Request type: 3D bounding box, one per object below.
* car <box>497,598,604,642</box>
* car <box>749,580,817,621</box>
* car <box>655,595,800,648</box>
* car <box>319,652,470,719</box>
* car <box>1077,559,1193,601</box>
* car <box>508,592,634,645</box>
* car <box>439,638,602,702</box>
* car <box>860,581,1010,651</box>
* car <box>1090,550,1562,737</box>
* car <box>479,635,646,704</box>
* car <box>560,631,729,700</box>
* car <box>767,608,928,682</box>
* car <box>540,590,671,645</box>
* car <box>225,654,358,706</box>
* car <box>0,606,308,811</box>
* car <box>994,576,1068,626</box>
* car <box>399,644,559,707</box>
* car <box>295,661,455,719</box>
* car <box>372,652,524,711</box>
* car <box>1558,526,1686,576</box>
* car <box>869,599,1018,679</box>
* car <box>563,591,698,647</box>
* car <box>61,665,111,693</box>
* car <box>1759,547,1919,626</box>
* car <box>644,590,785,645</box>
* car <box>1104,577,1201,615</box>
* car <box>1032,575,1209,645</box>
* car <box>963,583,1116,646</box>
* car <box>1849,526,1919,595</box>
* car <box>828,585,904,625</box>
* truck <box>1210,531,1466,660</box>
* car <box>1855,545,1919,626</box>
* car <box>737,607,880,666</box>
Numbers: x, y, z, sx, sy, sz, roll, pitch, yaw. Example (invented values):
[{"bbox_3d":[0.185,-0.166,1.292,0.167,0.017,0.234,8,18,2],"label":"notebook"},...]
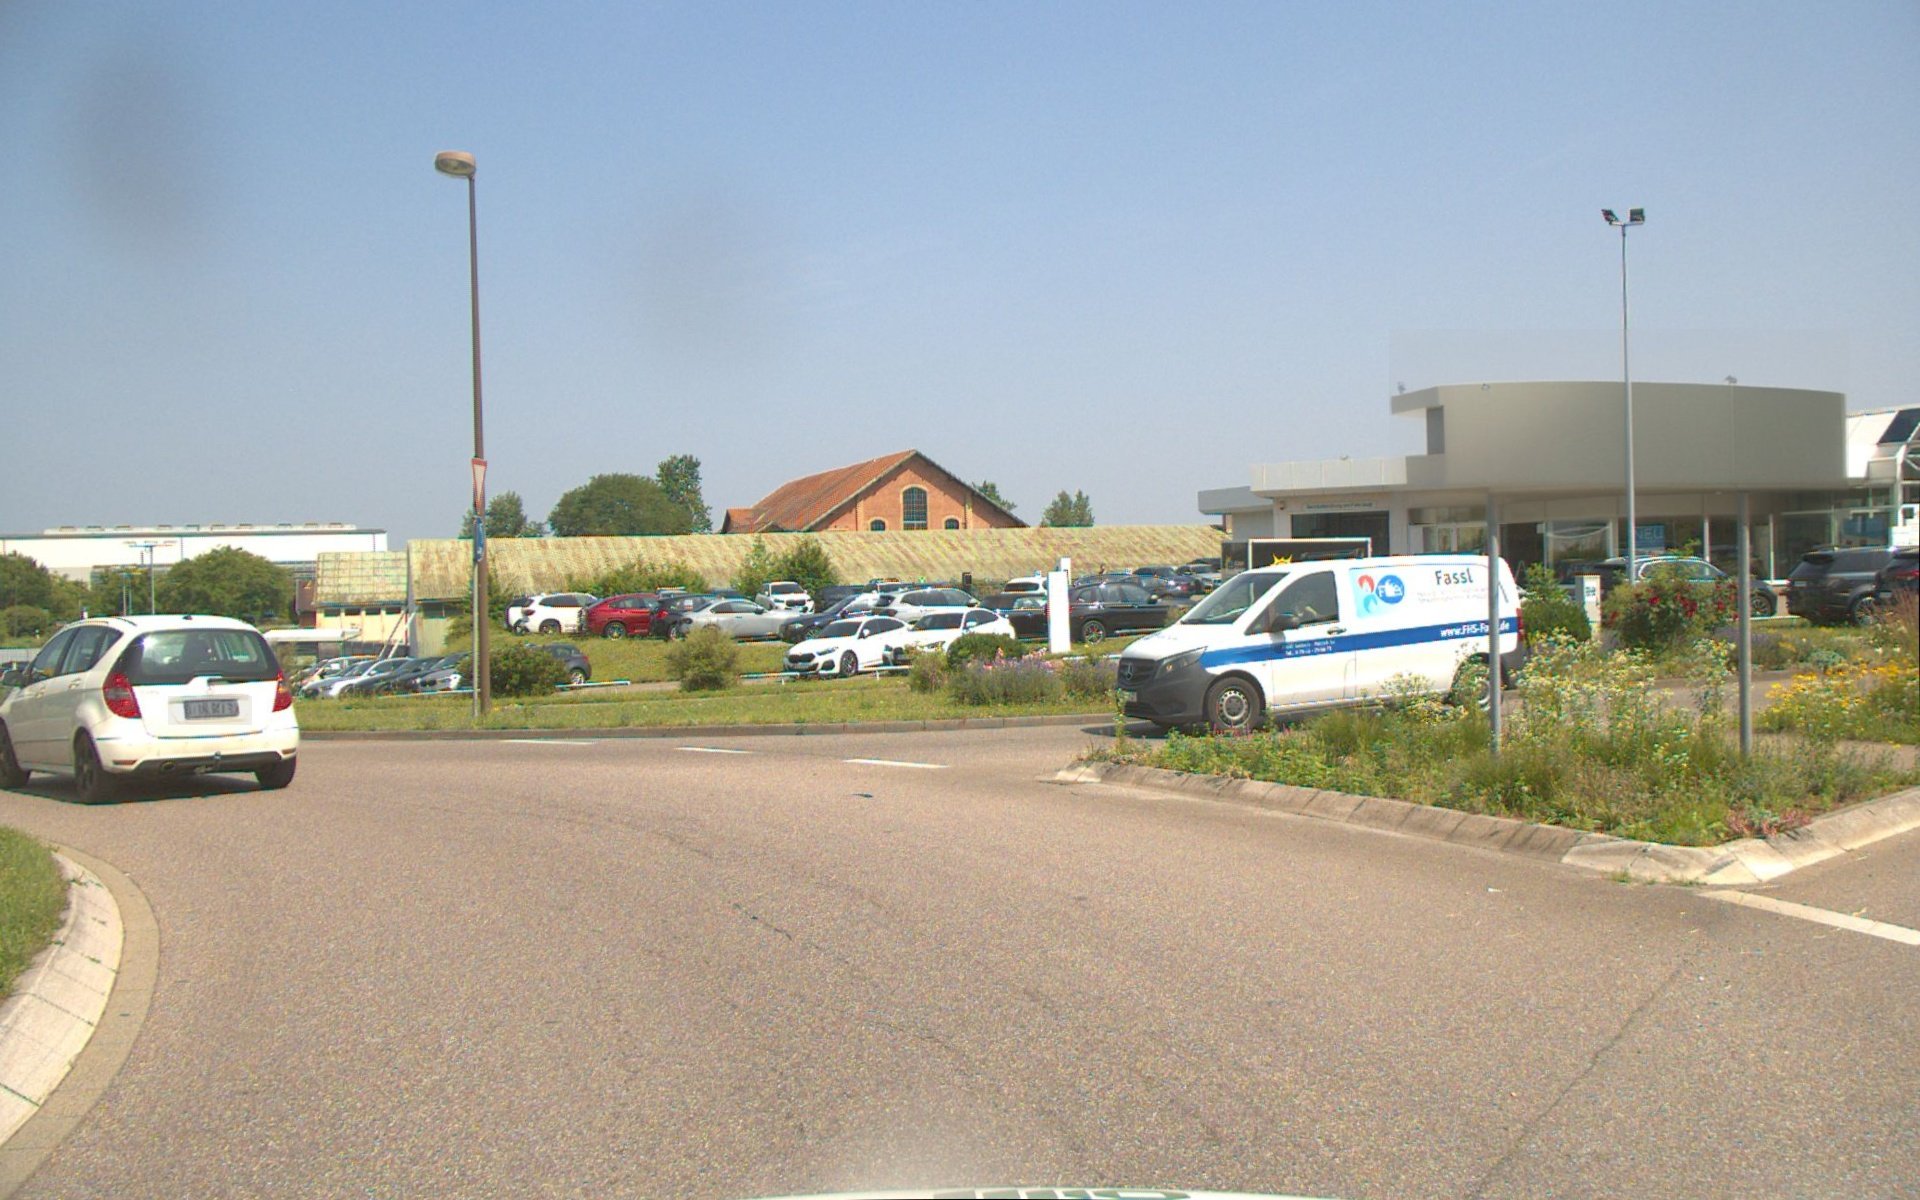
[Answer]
[{"bbox_3d":[-16.041,0.771,64.716,3.823,1.559,1.756,-2,0,-23],"label":"car"},{"bbox_3d":[-7.649,0.022,71.258,1.889,1.624,4.278,-2,0,-20],"label":"car"},{"bbox_3d":[-7.680,0.680,54.695,4.393,1.526,1.936,-2,1,-23],"label":"car"},{"bbox_3d":[-18.692,2.827,54.726,4.226,1.778,1.970,-4,-1,-42],"label":"car"},{"bbox_3d":[7.232,-0.822,68.441,4.385,1.549,1.940,-2,0,-18],"label":"car"},{"bbox_3d":[-14.763,0.699,62.734,4.393,1.777,1.826,-2,0,-23],"label":"car"},{"bbox_3d":[-13.017,2.062,49.126,4.227,1.437,1.894,-5,-1,-42],"label":"car"},{"bbox_3d":[-0.737,0.443,48.926,3.942,1.780,1.936,-4,1,-23],"label":"car"},{"bbox_3d":[4.257,0.461,19.337,5.130,1.972,1.852,-1,-1,-17],"label":"car"},{"bbox_3d":[-11.213,1.948,46.890,1.887,1.507,4.242,-6,-1,39],"label":"car"},{"bbox_3d":[-8.524,1.755,45.048,1.747,1.446,4.559,-6,-1,34],"label":"car"},{"bbox_3d":[-2.859,1.143,43.072,1.731,1.598,4.565,-3,0,33],"label":"car"},{"bbox_3d":[-13.010,0.627,60.661,4.393,1.777,1.826,-2,0,-23],"label":"car"},{"bbox_3d":[-24.060,2.871,59.602,1.966,1.579,3.973,-6,-2,44],"label":"car"},{"bbox_3d":[-7.749,0.909,15.413,1.774,1.631,3.829,-1,0,-44],"label":"car"},{"bbox_3d":[2.537,0.013,58.350,1.617,1.613,4.272,-2,1,16],"label":"car"},{"bbox_3d":[-14.854,2.306,51.258,1.887,1.490,4.413,-6,-1,40],"label":"car"},{"bbox_3d":[-20.069,3.083,56.834,4.742,1.534,1.969,-4,-1,-42],"label":"car"},{"bbox_3d":[-16.425,2.594,53.163,4.226,1.490,1.845,-4,-2,-42],"label":"car"},{"bbox_3d":[23.762,-1.744,59.398,3.965,1.613,1.900,-2,1,-17],"label":"car"},{"bbox_3d":[-0.353,0.957,42.035,1.728,1.597,4.661,-2,3,28],"label":"car"},{"bbox_3d":[-11.680,0.655,58.633,4.393,1.777,1.936,-2,0,-23],"label":"car"},{"bbox_3d":[-50.334,4.551,95.309,2.106,1.483,4.501,-1,-1,-22],"label":"car"},{"bbox_3d":[19.615,-0.316,35.213,4.268,1.539,1.911,-2,1,10],"label":"car"},{"bbox_3d":[-8.424,0.597,56.731,4.393,1.663,1.936,-2,0,-23],"label":"car"},{"bbox_3d":[7.230,-0.133,62.158,3.283,1.297,1.648,-2,1,42],"label":"car"},{"bbox_3d":[4.391,0.275,45.139,4.353,1.525,1.936,-5,0,-23],"label":"car"},{"bbox_3d":[2.298,0.387,47.817,3.942,1.525,1.936,-4,2,-23],"label":"car"},{"bbox_3d":[23.305,-0.975,38.411,4.268,1.539,1.911,-2,1,10],"label":"car"},{"bbox_3d":[-4.186,0.215,73.034,2.156,1.624,4.278,-2,0,-20],"label":"car"},{"bbox_3d":[8.784,-0.139,38.443,5.520,2.711,1.940,-2,1,-17],"label":"truck"},{"bbox_3d":[20.400,-0.365,32.781,4.268,1.539,1.911,-2,1,10],"label":"car"},{"bbox_3d":[-4.578,1.065,49.825,3.932,1.553,1.941,-2,1,-17],"label":"car"}]
